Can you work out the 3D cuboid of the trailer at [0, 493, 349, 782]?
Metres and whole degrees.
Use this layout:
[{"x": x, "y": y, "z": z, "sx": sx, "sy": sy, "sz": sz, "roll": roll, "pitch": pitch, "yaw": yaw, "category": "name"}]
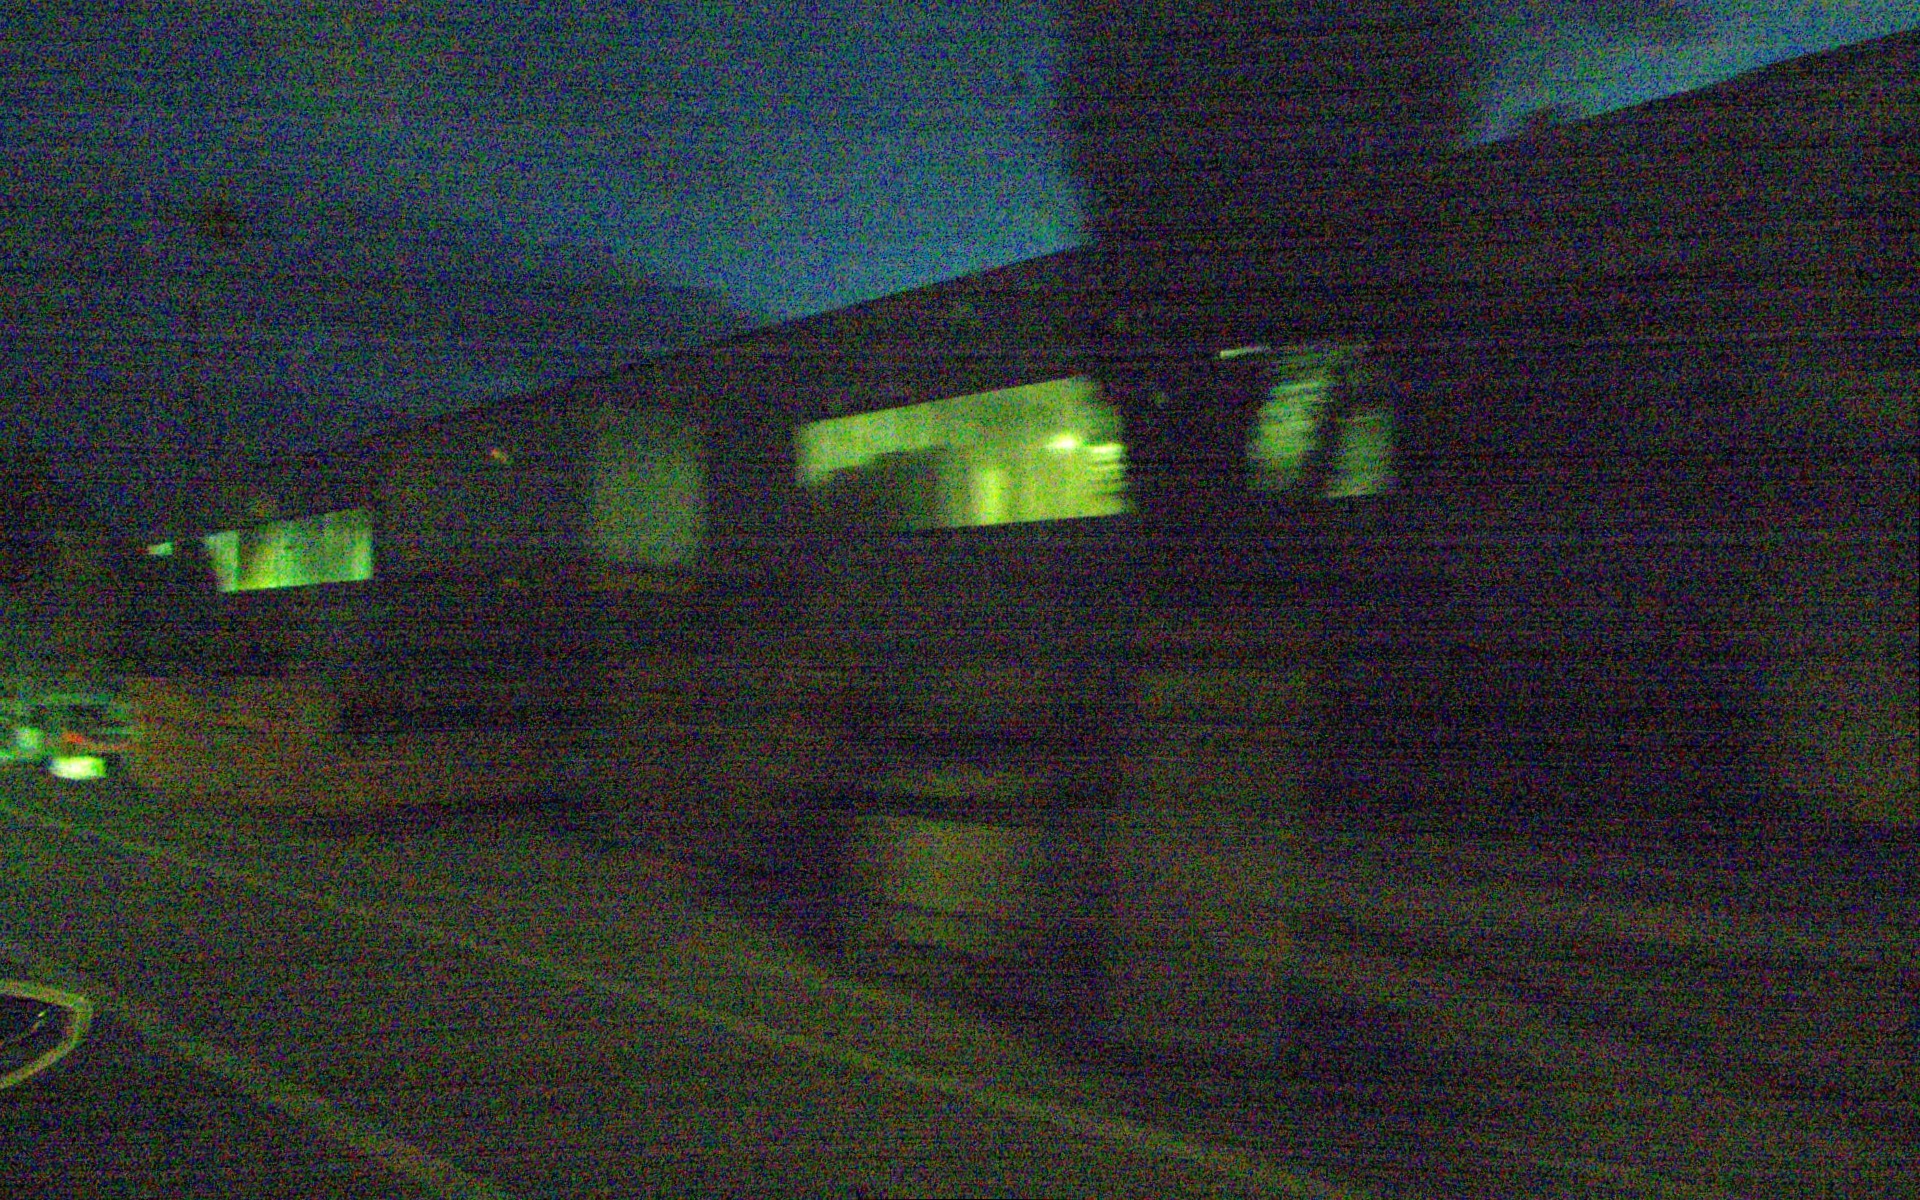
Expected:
[{"x": -10.198, "y": 0.511, "z": 12.274, "sx": 4.638, "sy": 2.880, "sz": 2.613, "roll": -1, "pitch": -4, "yaw": 29, "category": "trailer"}]
